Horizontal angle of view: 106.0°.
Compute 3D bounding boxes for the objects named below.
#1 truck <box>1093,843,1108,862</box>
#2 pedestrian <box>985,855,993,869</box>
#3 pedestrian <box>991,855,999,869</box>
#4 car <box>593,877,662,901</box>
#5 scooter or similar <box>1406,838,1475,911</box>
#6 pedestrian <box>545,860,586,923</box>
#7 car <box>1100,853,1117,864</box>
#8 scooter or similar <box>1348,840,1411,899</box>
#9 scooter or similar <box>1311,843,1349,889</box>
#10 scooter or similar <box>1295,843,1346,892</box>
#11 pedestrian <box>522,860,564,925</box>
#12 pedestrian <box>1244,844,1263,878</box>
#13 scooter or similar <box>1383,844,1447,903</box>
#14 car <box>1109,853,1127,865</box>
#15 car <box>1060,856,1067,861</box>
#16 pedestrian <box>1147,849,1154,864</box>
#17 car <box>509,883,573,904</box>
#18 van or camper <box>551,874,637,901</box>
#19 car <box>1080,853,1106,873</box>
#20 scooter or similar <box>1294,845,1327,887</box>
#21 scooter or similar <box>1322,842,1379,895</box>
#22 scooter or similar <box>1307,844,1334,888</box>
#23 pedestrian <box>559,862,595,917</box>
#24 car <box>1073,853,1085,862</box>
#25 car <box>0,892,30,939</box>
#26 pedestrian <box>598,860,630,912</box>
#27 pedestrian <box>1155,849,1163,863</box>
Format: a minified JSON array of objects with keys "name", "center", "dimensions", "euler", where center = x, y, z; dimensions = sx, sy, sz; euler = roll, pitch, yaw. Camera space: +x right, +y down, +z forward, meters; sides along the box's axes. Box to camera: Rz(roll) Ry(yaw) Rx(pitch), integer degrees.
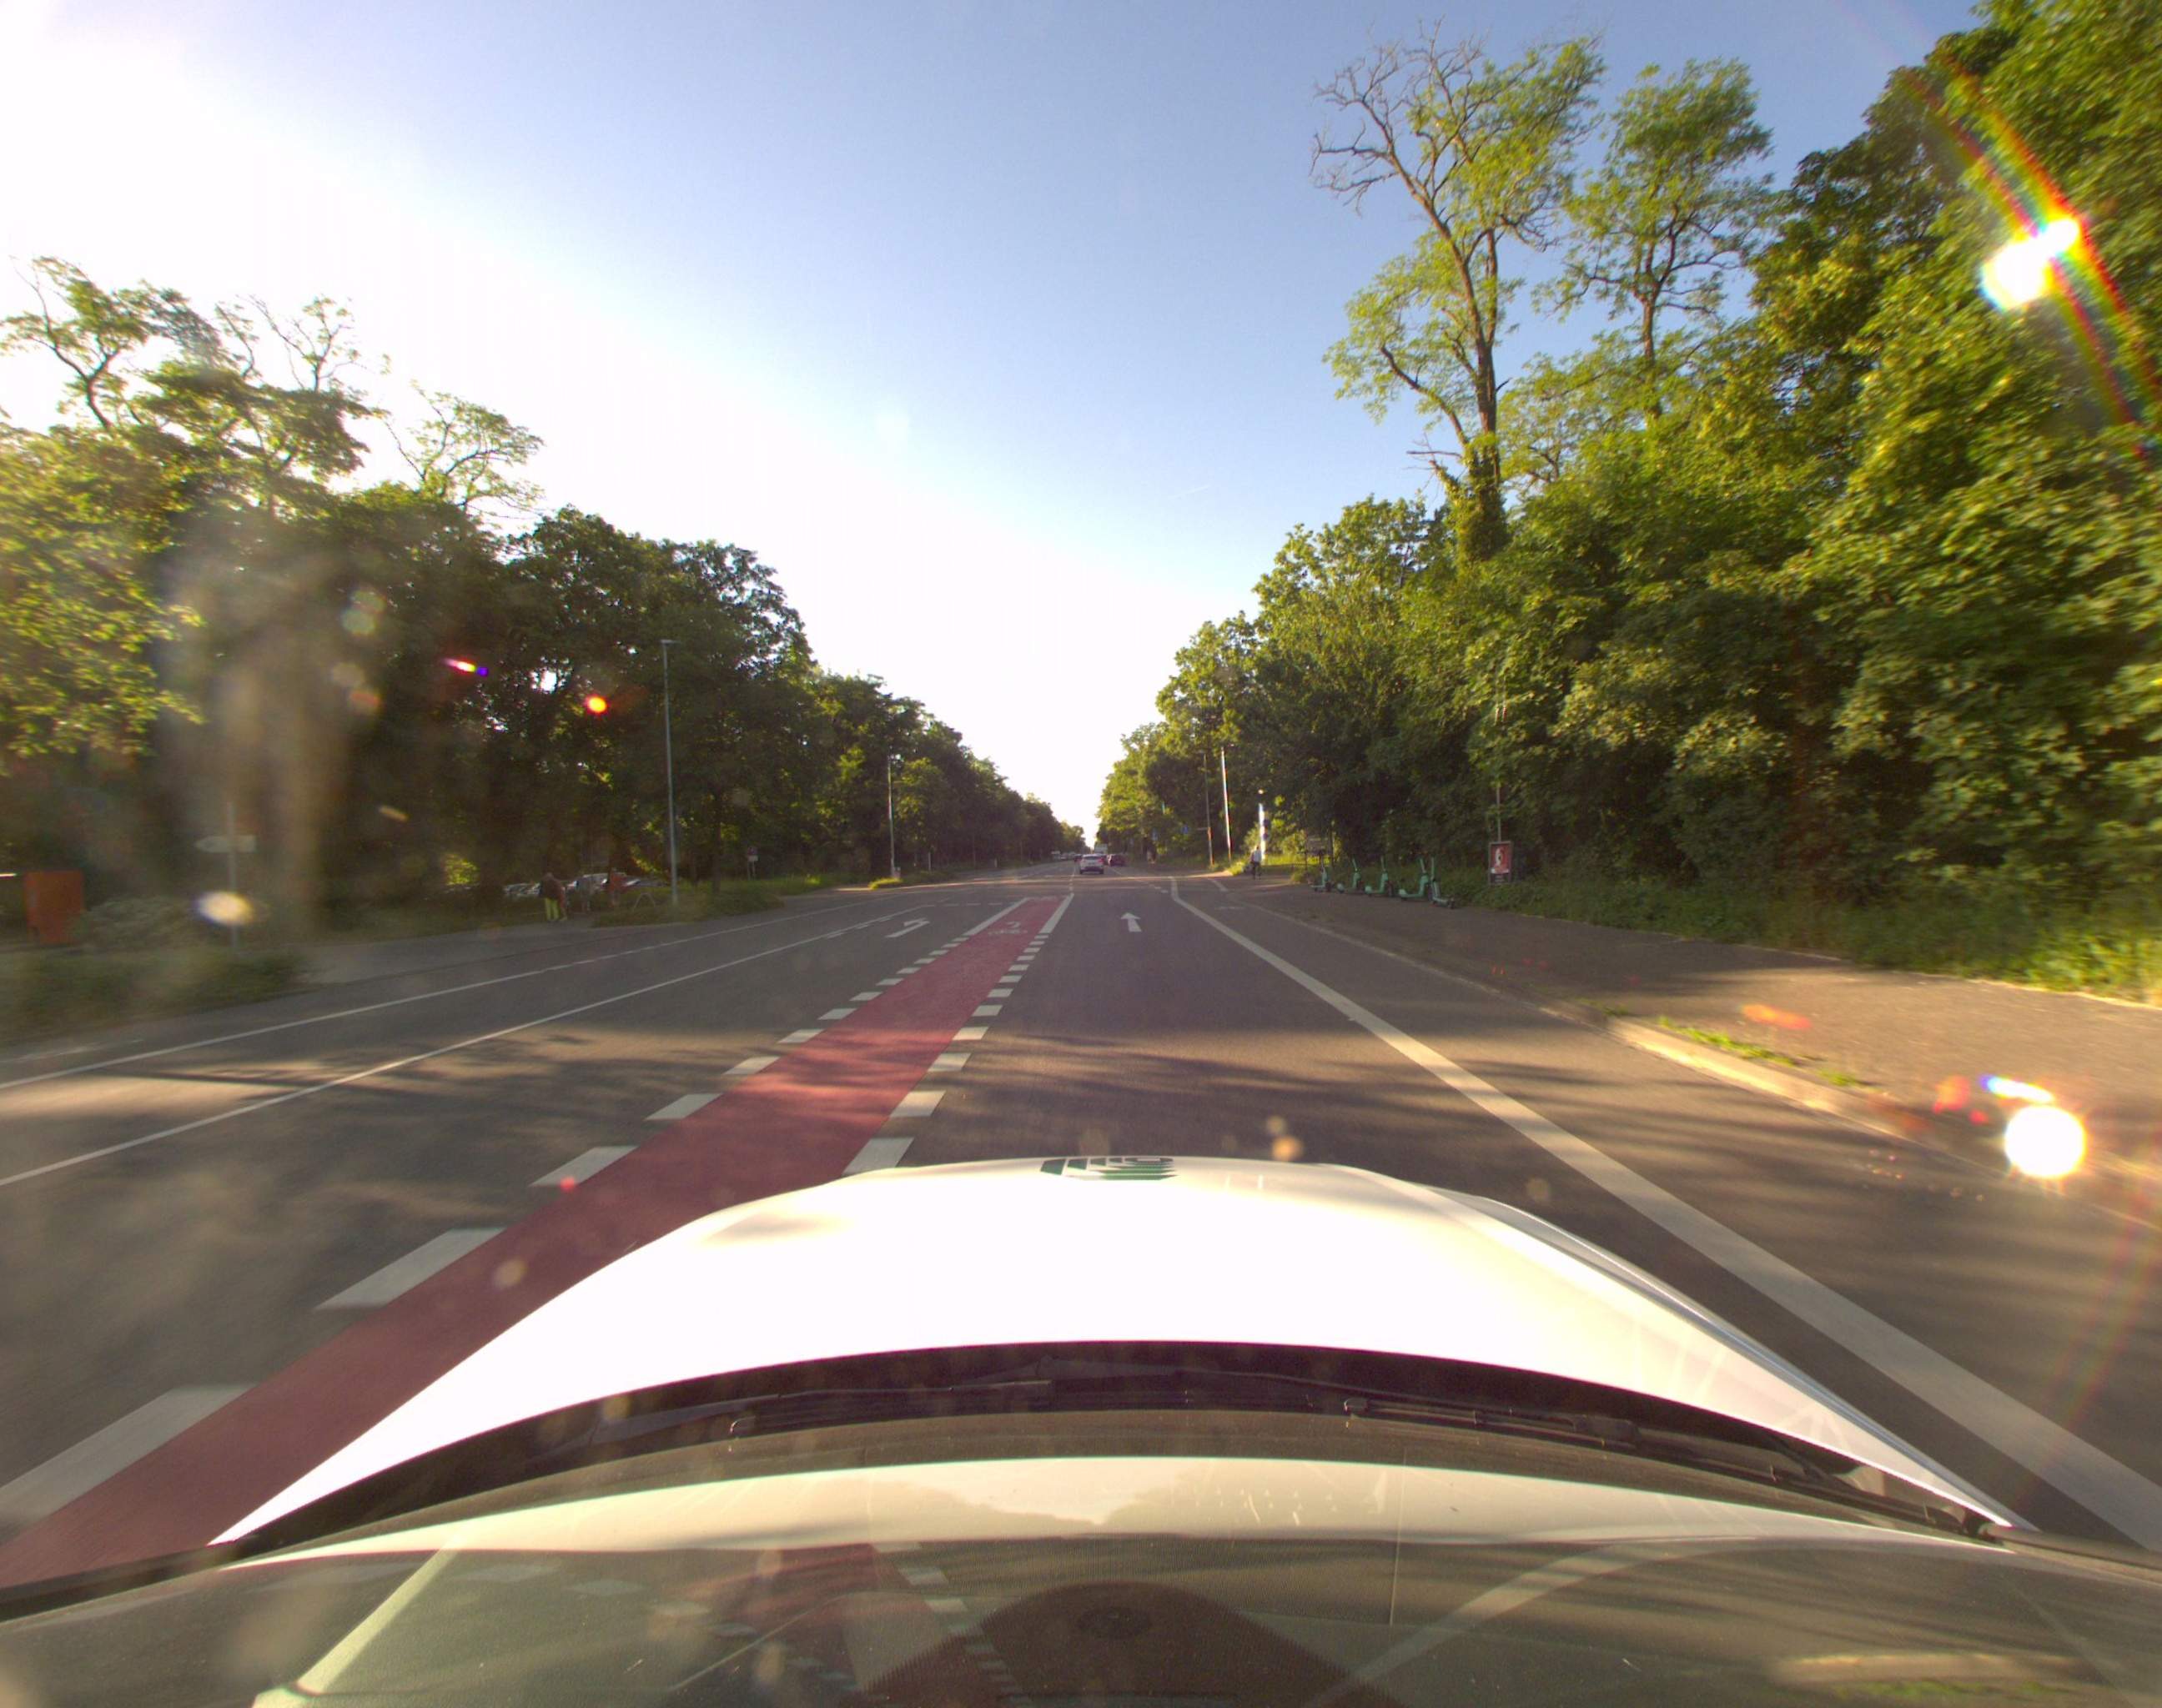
[{"name":"truck","center":[3.802,-0.230,159.161],"dimensions":[2.790,3.570,8.033],"euler":[-1,0,0]},{"name":"pedestrian","center":[-13.603,1.217,120.661],"dimensions":[0.860,2.013,1.270],"euler":[-2,0,3]},{"name":"pedestrian","center":[-12.756,1.243,120.602],"dimensions":[0.827,2.013,1.270],"euler":[-3,0,3]},{"name":"car","center":[-34.158,2.592,61.376],"dimensions":[1.974,1.526,4.026],"euler":[-3,0,35]},{"name":"scooter or similar","center":[7.528,0.403,17.139],"dimensions":[0.679,1.423,1.682],"euler":[-3,0,1]},{"name":"pedestrian","center":[-17.177,1.237,27.130],"dimensions":[0.712,2.013,0.800],"euler":[-3,0,12]},{"name":"car","center":[3.856,0.623,115.378],"dimensions":[1.988,1.327,3.997],"euler":[-3,0,-2]},{"name":"scooter or similar","center":[7.706,0.390,21.090],"dimensions":[0.682,1.423,1.674],"euler":[-3,0,-12]},{"name":"scooter or similar","center":[7.969,0.373,26.150],"dimensions":[0.679,1.423,1.682],"euler":[-3,0,2]},{"name":"scooter or similar","center":[7.290,0.412,24.851],"dimensions":[0.683,1.423,1.673],"euler":[-3,0,-14]},{"name":"pedestrian","center":[-17.376,1.230,26.319],"dimensions":[0.712,2.013,0.800],"euler":[-3,0,12]},{"name":"pedestrian","center":[8.218,0.320,38.849],"dimensions":[0.751,1.563,0.804],"euler":[-3,0,6]},{"name":"scooter or similar","center":[7.759,0.452,18.990],"dimensions":[0.467,1.306,1.471],"euler":[-3,0,-20]},{"name":"car","center":[4.492,0.595,99.661],"dimensions":[1.987,1.327,4.001],"euler":[-3,0,1]},{"name":"car","center":[-5.236,1.450,246.220],"dimensions":[1.987,1.327,3.999],"euler":[-3,0,0]},{"name":"pedestrian","center":[7.871,0.265,92.430],"dimensions":[0.696,1.653,0.876],"euler":[-3,0,1]},{"name":"car","center":[-44.571,3.269,67.307],"dimensions":[1.652,1.466,4.025],"euler":[-3,0,28]},{"name":"van or camper","center":[-38.169,2.604,63.986],"dimensions":[1.974,2.014,5.451],"euler":[-2,-3,31]},{"name":"car","center":[0.883,0.694,62.199],"dimensions":[1.757,1.459,3.815],"euler":[-1,0,-2]},{"name":"scooter or similar","center":[8.208,0.406,29.200],"dimensions":[0.679,1.423,1.682],"euler":[-3,0,2]},{"name":"scooter or similar","center":[7.646,0.394,23.164],"dimensions":[0.683,1.423,1.673],"euler":[-3,0,-14]},{"name":"scooter or similar","center":[8.117,0.403,27.661],"dimensions":[0.678,1.423,1.249],"euler":[-3,0,10]},{"name":"pedestrian","center":[-19.171,1.348,30.985],"dimensions":[0.710,2.013,0.880],"euler":[-3,0,32]},{"name":"car","center":[-0.387,0.711,156.758],"dimensions":[1.986,1.519,4.002],"euler":[-3,0,2]},{"name":"car","center":[-44.588,2.556,31.680],"dimensions":[1.974,1.820,4.299],"euler":[-3,0,31]},{"name":"pedestrian","center":[-18.293,1.253,31.909],"dimensions":[0.710,2.013,0.752],"euler":[-3,0,32]},{"name":"pedestrian","center":[8.869,0.223,92.446],"dimensions":[0.741,1.599,0.798],"euler":[-3,0,1]}]
